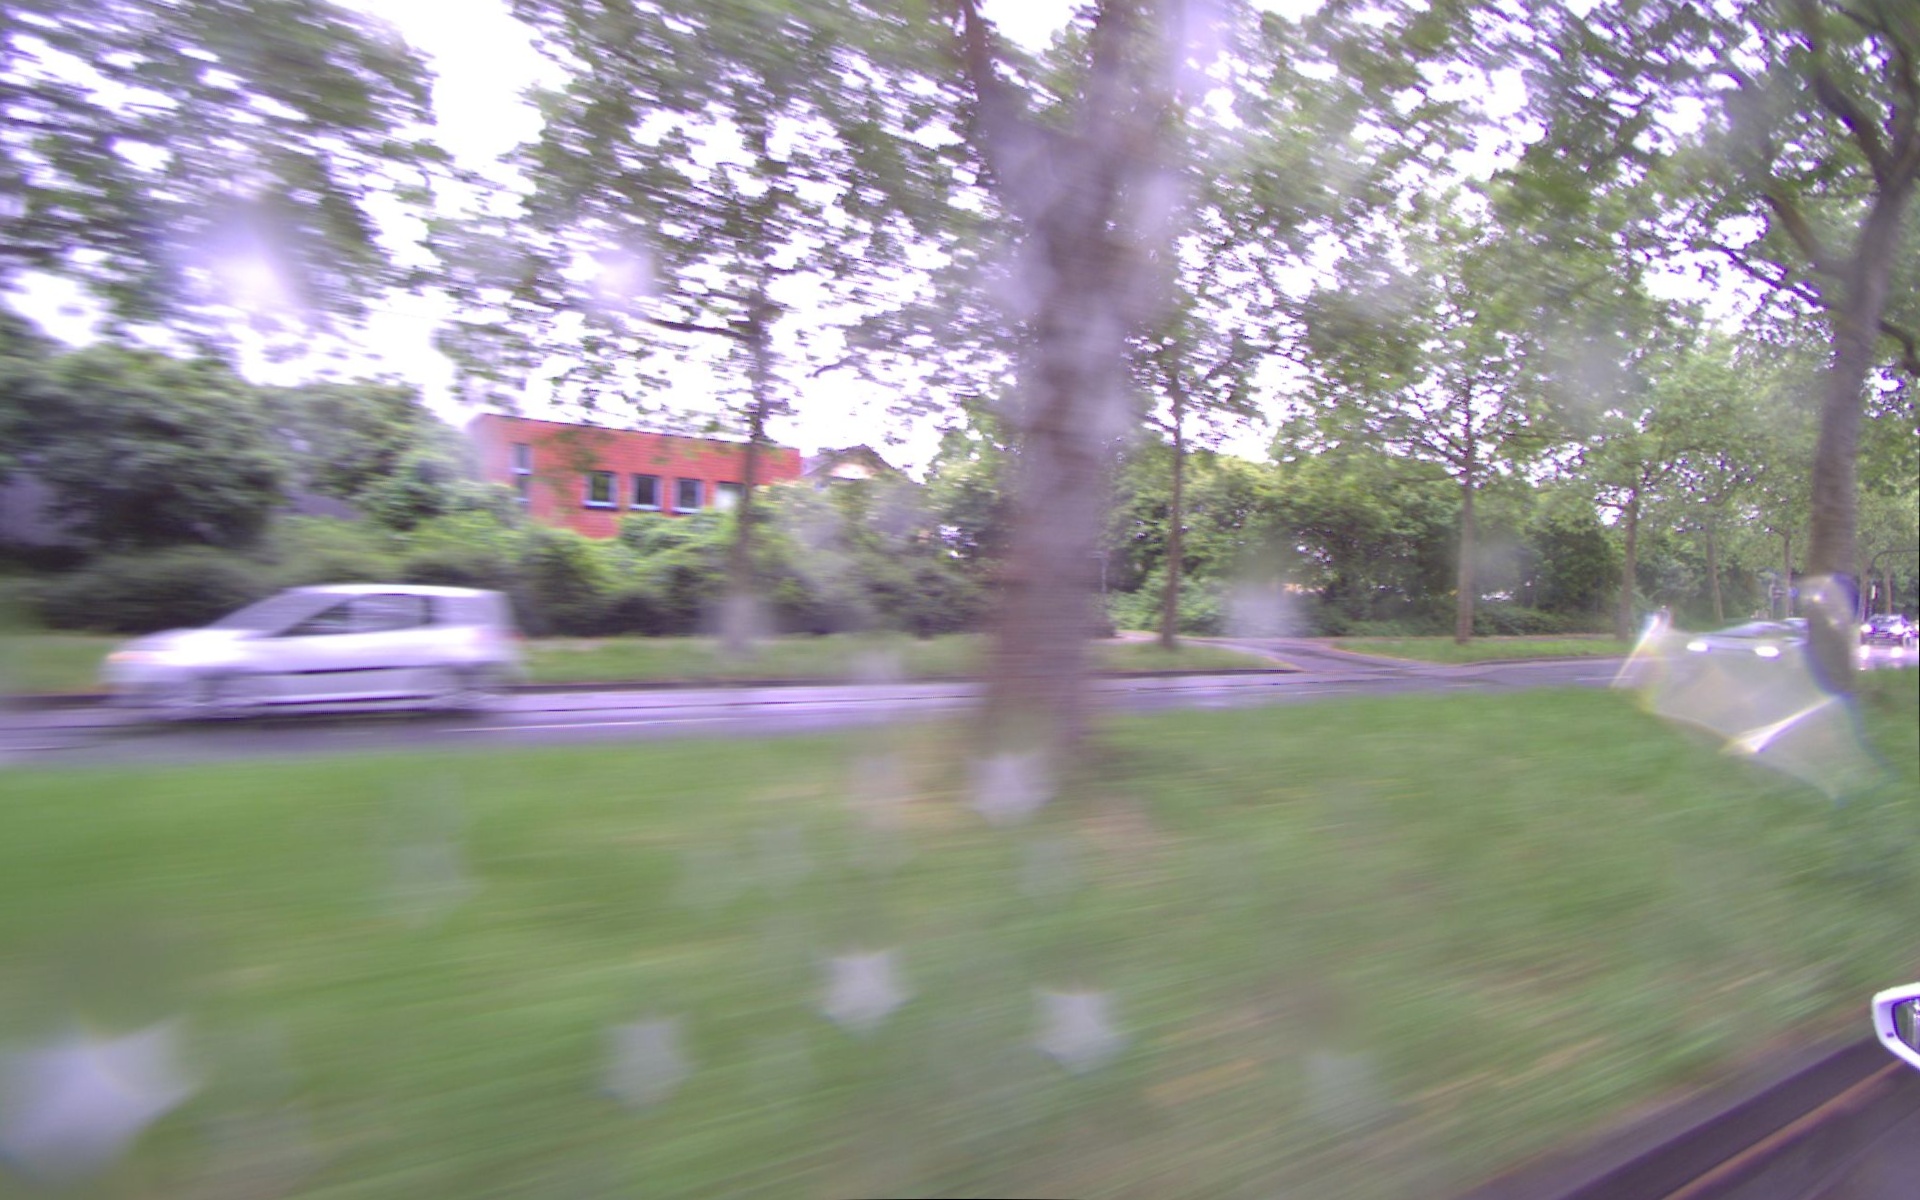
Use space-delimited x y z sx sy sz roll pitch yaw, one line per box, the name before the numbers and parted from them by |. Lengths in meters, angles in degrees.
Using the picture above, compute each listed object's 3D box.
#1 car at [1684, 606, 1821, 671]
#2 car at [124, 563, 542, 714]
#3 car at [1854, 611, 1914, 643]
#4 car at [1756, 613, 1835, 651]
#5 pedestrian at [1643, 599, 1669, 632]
car | 20.768 0.994 26.272 4.369 1.496 1.730 2 1 -37
car | -7.014 0.409 11.589 3.800 1.479 1.733 2 1 -32
car | 51.439 1.506 55.919 4.172 1.612 1.730 2 1 -38
car | 36.236 1.394 43.543 4.046 1.496 1.730 2 1 -38
pedestrian | 36.075 0.797 52.095 0.892 1.696 0.824 2 1 -39
